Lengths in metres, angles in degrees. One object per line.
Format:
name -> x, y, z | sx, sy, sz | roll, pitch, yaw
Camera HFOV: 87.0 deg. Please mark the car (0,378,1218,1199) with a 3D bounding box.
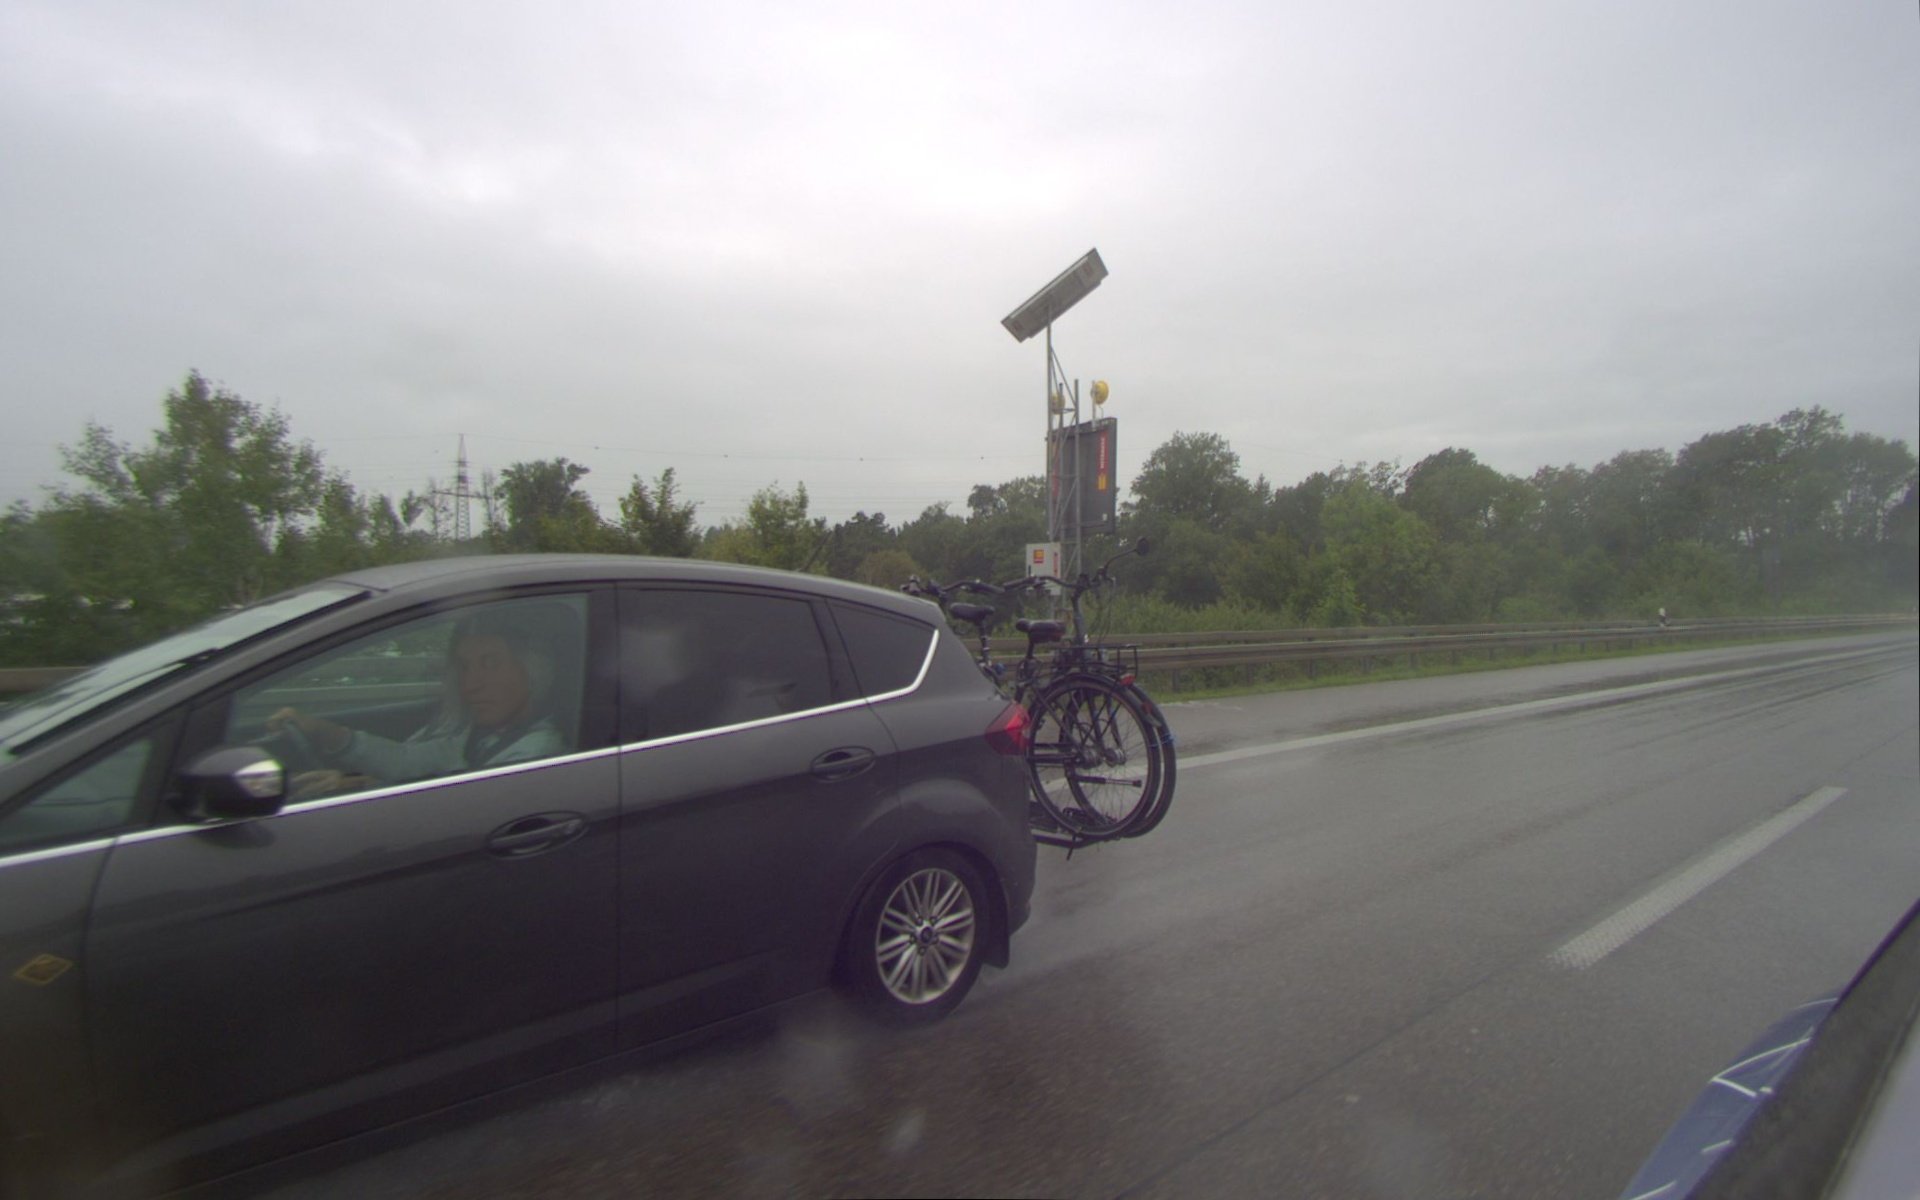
car -> -1.778, 0.462, 3.495 | 5.619, 1.768, 2.461 | 0, 0, -41
